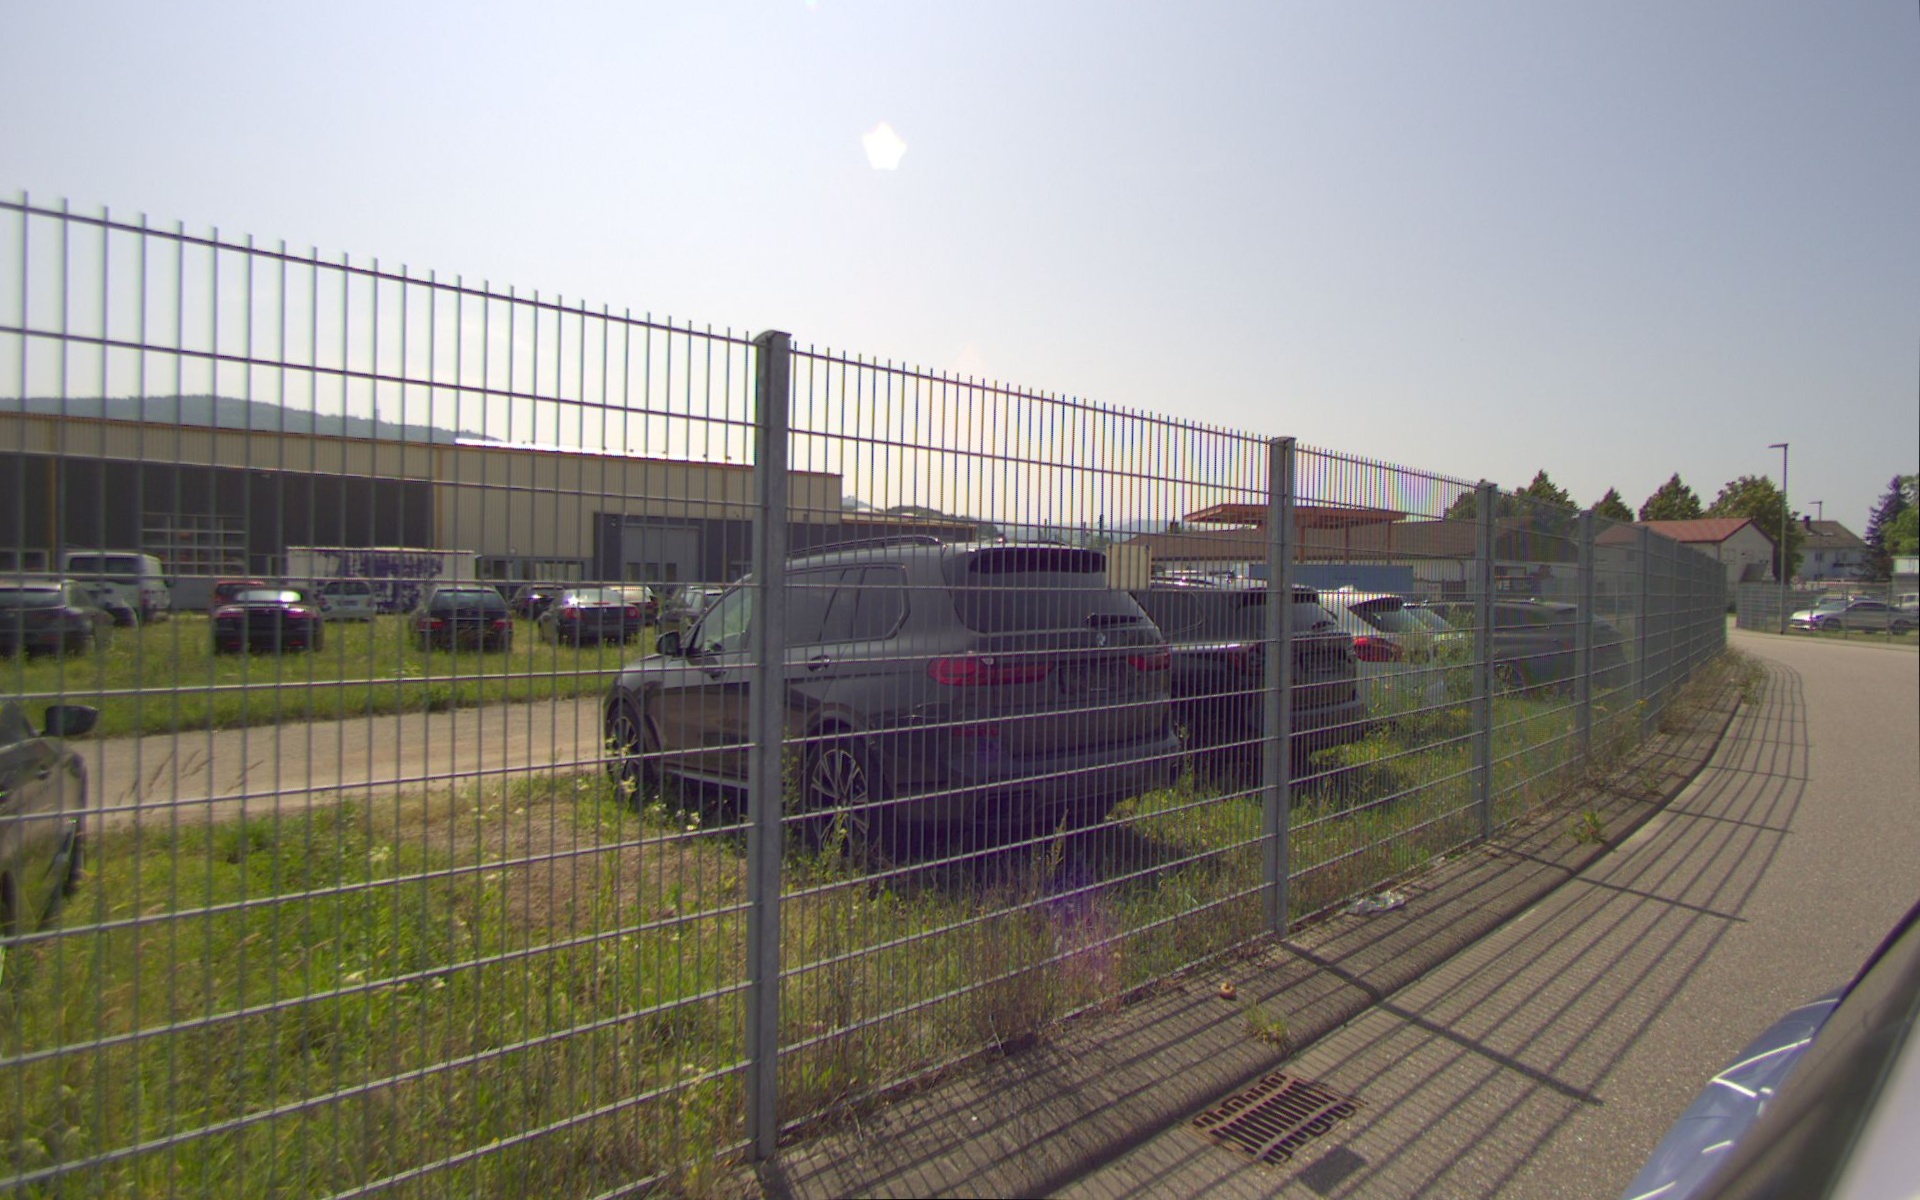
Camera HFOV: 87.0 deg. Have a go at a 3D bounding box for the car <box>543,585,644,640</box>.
[{"bbox_3d":[-8.370,0.227,22.900,1.586,1.046,4.397,0,1,-27],"label":"car"}]

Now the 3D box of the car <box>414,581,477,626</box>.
[{"bbox_3d":[-17.694,0.092,34.829,1.804,1.395,4.397,0,1,-27],"label":"car"}]

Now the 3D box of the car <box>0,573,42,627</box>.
[{"bbox_3d":[-27.049,-0.018,27.671,1.804,1.395,4.397,0,1,-27],"label":"car"}]

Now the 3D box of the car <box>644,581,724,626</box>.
[{"bbox_3d":[-9.654,0.078,35.204,1.804,1.395,4.397,0,1,-27],"label":"car"}]

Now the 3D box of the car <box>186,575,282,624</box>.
[{"bbox_3d":[-22.050,-0.065,30.889,1.934,1.339,4.395,0,1,-30],"label":"car"}]

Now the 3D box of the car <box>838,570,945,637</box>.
[{"bbox_3d":[-2.287,0.046,32.612,1.804,2.006,4.397,1,1,-27],"label":"car"}]

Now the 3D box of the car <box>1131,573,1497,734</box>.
[{"bbox_3d":[3.726,0.452,11.035,1.491,1.435,3.469,0,2,-43],"label":"car"}]

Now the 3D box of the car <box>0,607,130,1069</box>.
[{"bbox_3d":[-4.264,0.801,3.499,1.690,1.399,4.481,0,1,-33],"label":"car"}]

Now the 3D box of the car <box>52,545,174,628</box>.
[{"bbox_3d":[-24.424,-0.414,29.356,1.934,2.199,4.395,0,1,-30],"label":"car"}]

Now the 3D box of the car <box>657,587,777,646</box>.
[{"bbox_3d":[-5.947,0.341,24.401,1.804,1.221,4.397,0,1,-27],"label":"car"}]

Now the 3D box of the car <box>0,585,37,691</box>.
[{"bbox_3d":[-12.946,0.544,11.984,1.784,1.368,4.768,0,1,-27],"label":"car"}]

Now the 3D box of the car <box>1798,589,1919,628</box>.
[{"bbox_3d":[39.922,0.341,44.609,4.363,1.590,1.803,1,1,34],"label":"car"}]

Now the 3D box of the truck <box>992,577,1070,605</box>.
[{"bbox_3d":[4.683,-0.585,66.439,4.702,1.820,2.064,0,1,-25],"label":"truck"}]

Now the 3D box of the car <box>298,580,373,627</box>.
[{"bbox_3d":[-20.581,0.075,33.493,1.934,1.403,4.395,0,1,-30],"label":"car"}]

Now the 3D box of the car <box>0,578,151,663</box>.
[{"bbox_3d":[-15.944,0.286,17.839,1.784,1.285,4.397,0,1,-27],"label":"car"}]

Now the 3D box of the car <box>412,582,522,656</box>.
[{"bbox_3d":[-10.212,0.323,20.900,1.840,1.291,4.397,0,1,-27],"label":"car"}]

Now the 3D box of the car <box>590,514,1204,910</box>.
[{"bbox_3d":[-0.804,0.439,6.930,1.712,1.791,4.694,0,1,-41],"label":"car"}]

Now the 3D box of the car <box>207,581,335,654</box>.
[{"bbox_3d":[-13.375,0.271,19.855,1.545,1.198,4.397,0,1,-27],"label":"car"}]

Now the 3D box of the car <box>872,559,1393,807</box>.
[{"bbox_3d":[1.241,0.480,8.761,1.664,1.623,4.299,0,2,-44],"label":"car"}]

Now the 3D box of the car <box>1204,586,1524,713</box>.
[{"bbox_3d":[5.037,0.522,12.981,1.611,1.334,3.475,0,1,-37],"label":"car"}]

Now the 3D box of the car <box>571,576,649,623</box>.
[{"bbox_3d":[-11.489,-0.064,33.057,1.804,1.395,4.397,0,1,-27],"label":"car"}]

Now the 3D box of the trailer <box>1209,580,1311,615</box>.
[{"bbox_3d":[14.959,-0.095,50.575,4.530,1.586,1.769,2,-1,-1],"label":"trailer"}]

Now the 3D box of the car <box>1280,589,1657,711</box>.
[{"bbox_3d":[6.856,0.565,14.102,1.687,1.334,4.388,0,1,-37],"label":"car"}]
